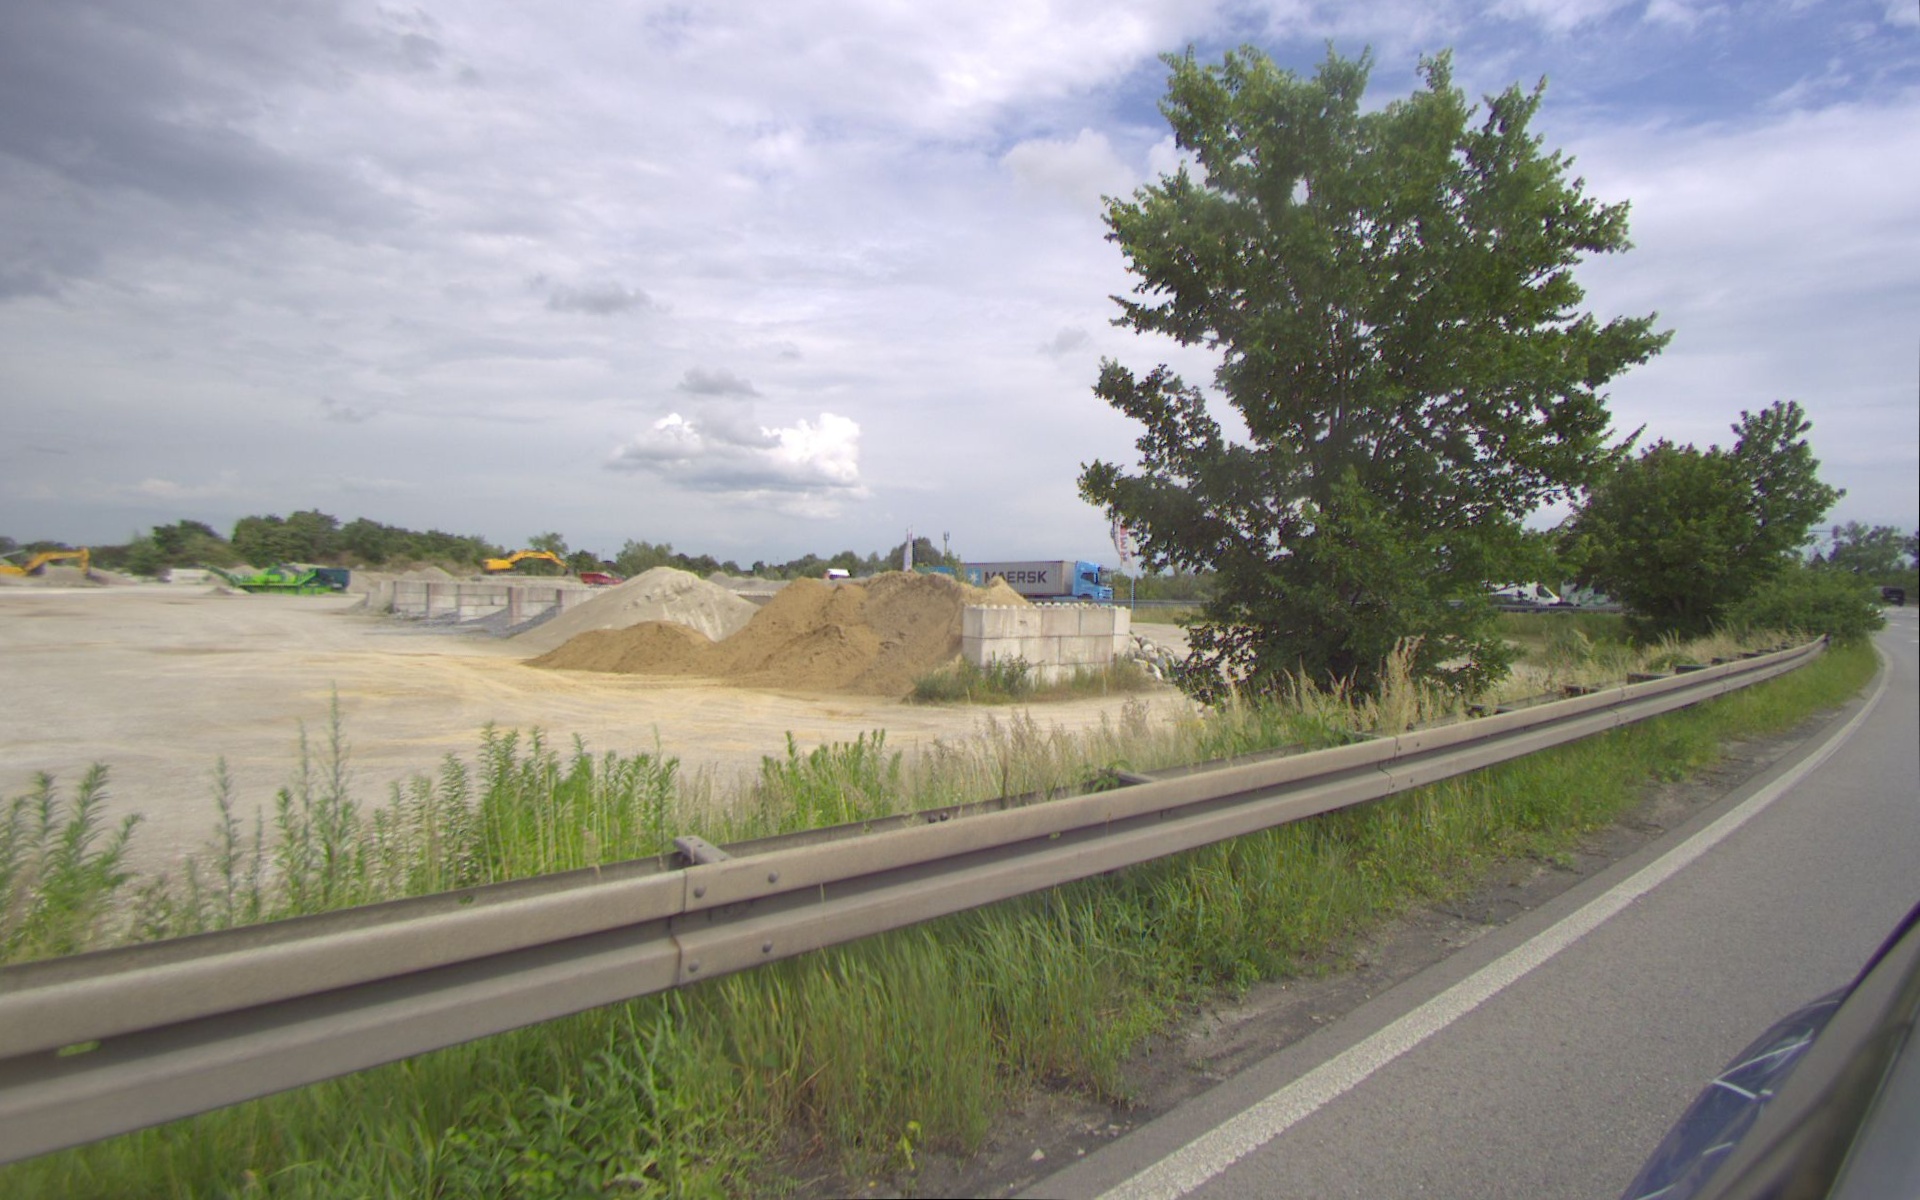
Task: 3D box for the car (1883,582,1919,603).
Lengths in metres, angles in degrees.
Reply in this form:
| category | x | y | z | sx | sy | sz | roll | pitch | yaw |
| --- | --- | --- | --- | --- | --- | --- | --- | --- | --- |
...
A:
| category | x | y | z | sx | sy | sz | roll | pitch | yaw |
| --- | --- | --- | --- | --- | --- | --- | --- | --- | --- |
| car | 91.753 | -0.735 | 98.335 | 1.980 | 2.039 | 3.964 | 0 | 0 | 26 |

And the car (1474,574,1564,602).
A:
| category | x | y | z | sx | sy | sz | roll | pitch | yaw |
| --- | --- | --- | --- | --- | --- | --- | --- | --- | --- |
| car | 41.901 | -0.868 | 75.893 | 5.853 | 2.039 | 2.037 | 0 | -1 | 33 |

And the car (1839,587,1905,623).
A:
| category | x | y | z | sx | sy | sz | roll | pitch | yaw |
| --- | --- | --- | --- | --- | --- | --- | --- | --- | --- |
| car | 43.227 | 0.249 | 48.036 | 2.011 | 1.633 | 4.221 | 0 | 0 | 38 |

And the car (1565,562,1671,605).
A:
| category | x | y | z | sx | sy | sz | roll | pitch | yaw |
| --- | --- | --- | --- | --- | --- | --- | --- | --- | --- |
| car | 42.530 | -1.081 | 65.480 | 5.399 | 2.599 | 2.422 | 2 | 0 | 42 |

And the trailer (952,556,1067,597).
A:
| category | x | y | z | sx | sy | sz | roll | pitch | yaw |
| --- | --- | --- | --- | --- | --- | --- | --- | --- | --- |
| trailer | 4.238 | -2.008 | 90.618 | 11.178 | 3.352 | 2.357 | 0 | -1 | 40 |

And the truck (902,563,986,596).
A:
| category | x | y | z | sx | sy | sz | roll | pitch | yaw |
| --- | --- | --- | --- | --- | --- | --- | --- | --- | --- |
| truck | -1.782 | -2.020 | 103.530 | 2.347 | 3.093 | 11.754 | 1 | -1 | -36 |

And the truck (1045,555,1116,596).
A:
| category | x | y | z | sx | sy | sz | roll | pitch | yaw |
| --- | --- | --- | --- | --- | --- | --- | --- | --- | --- |
| truck | 10.202 | -2.018 | 85.795 | 5.559 | 3.347 | 2.361 | 0 | -1 | 35 |

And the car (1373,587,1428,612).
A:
| category | x | y | z | sx | sy | sz | roll | pitch | yaw |
| --- | --- | --- | --- | --- | --- | --- | --- | --- | --- |
| car | 36.501 | -0.028 | 83.905 | 3.970 | 2.039 | 1.909 | 0 | -1 | 33 |

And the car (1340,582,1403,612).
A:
| category | x | y | z | sx | sy | sz | roll | pitch | yaw |
| --- | --- | --- | --- | --- | --- | --- | --- | --- | --- |
| car | 30.069 | -0.236 | 73.985 | 3.970 | 2.039 | 1.909 | 2 | 0 | 33 |
